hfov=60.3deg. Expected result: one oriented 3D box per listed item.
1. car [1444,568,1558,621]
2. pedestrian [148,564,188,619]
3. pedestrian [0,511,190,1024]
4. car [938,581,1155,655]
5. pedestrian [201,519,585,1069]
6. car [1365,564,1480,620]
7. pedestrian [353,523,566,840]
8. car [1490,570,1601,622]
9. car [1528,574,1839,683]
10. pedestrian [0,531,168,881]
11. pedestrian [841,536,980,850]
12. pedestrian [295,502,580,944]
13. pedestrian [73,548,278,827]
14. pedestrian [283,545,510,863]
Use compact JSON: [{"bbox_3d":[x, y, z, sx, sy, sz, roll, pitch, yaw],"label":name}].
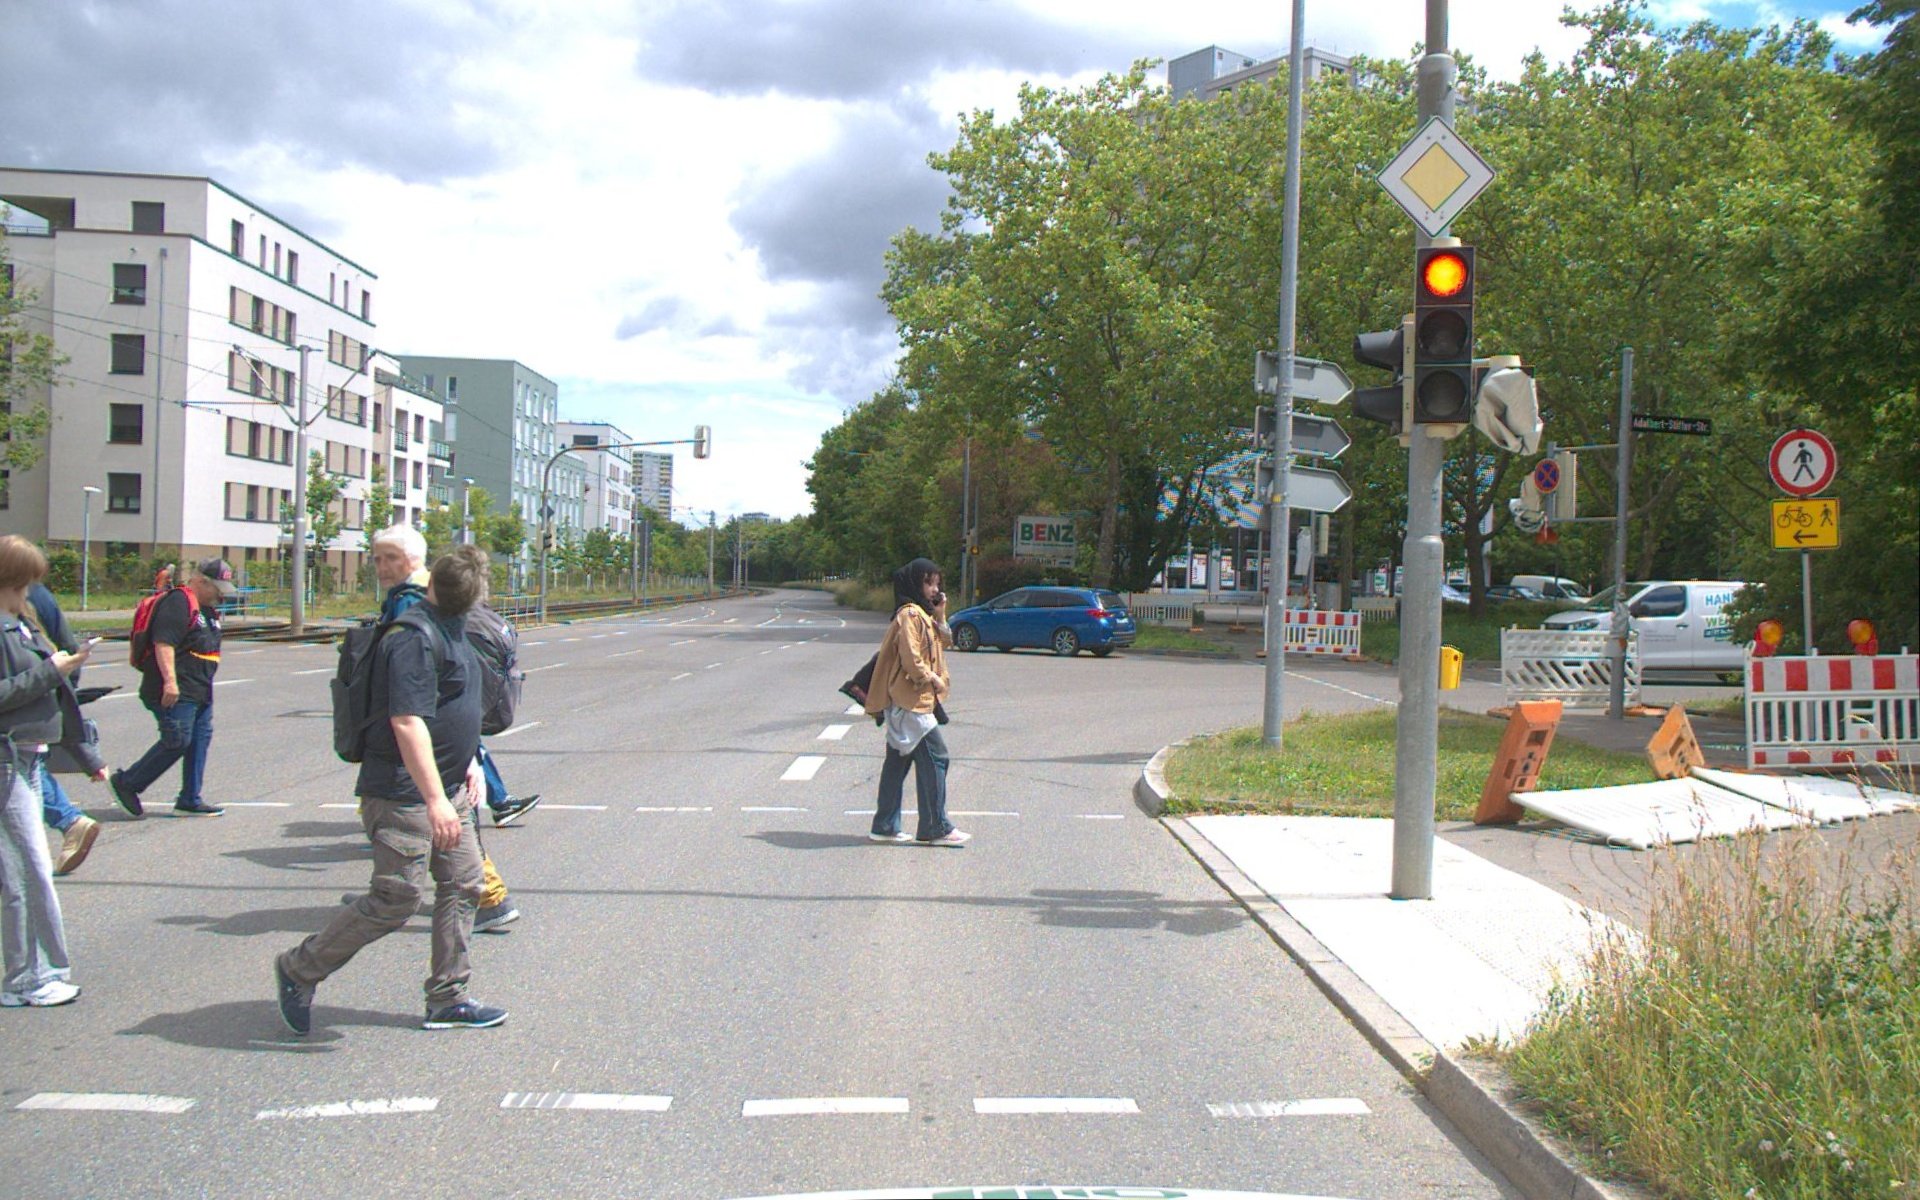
[{"bbox_3d":[21.368,-0.231,65.460,1.974,2.049,3.957,0,1,-32],"label":"car"},{"bbox_3d":[-22.547,-0.246,47.099,0.814,1.542,0.636,1,0,-1],"label":"pedestrian"},{"bbox_3d":[-3.460,0.537,5.871,0.999,1.677,0.929,1,0,0],"label":"pedestrian"},{"bbox_3d":[1.876,0.359,36.470,4.397,1.512,1.983,1,1,34],"label":"car"},{"bbox_3d":[-1.851,0.591,5.540,0.938,1.677,0.881,1,0,3],"label":"pedestrian"},{"bbox_3d":[17.524,-0.310,62.826,1.974,2.049,3.957,0,1,-32],"label":"car"},{"bbox_3d":[-2.972,0.463,9.919,0.982,1.804,0.929,1,0,-1],"label":"pedestrian"},{"bbox_3d":[23.935,-0.178,67.696,1.974,2.049,3.957,0,1,-32],"label":"car"},{"bbox_3d":[13.426,0.503,30.860,4.976,1.906,1.947,1,0,-5],"label":"car"},{"bbox_3d":[-4.539,0.502,8.262,0.852,1.663,0.764,1,0,-9],"label":"pedestrian"},{"bbox_3d":[-0.300,0.526,9.778,0.766,1.773,0.828,1,0,-3],"label":"pedestrian"},{"bbox_3d":[-2.253,0.505,7.274,0.990,1.805,0.947,1,0,-5],"label":"pedestrian"},{"bbox_3d":[-4.770,0.509,10.123,0.876,1.624,0.906,1,0,-7],"label":"pedestrian"},{"bbox_3d":[-3.045,0.535,9.028,0.894,1.635,0.929,1,0,0],"label":"pedestrian"}]
